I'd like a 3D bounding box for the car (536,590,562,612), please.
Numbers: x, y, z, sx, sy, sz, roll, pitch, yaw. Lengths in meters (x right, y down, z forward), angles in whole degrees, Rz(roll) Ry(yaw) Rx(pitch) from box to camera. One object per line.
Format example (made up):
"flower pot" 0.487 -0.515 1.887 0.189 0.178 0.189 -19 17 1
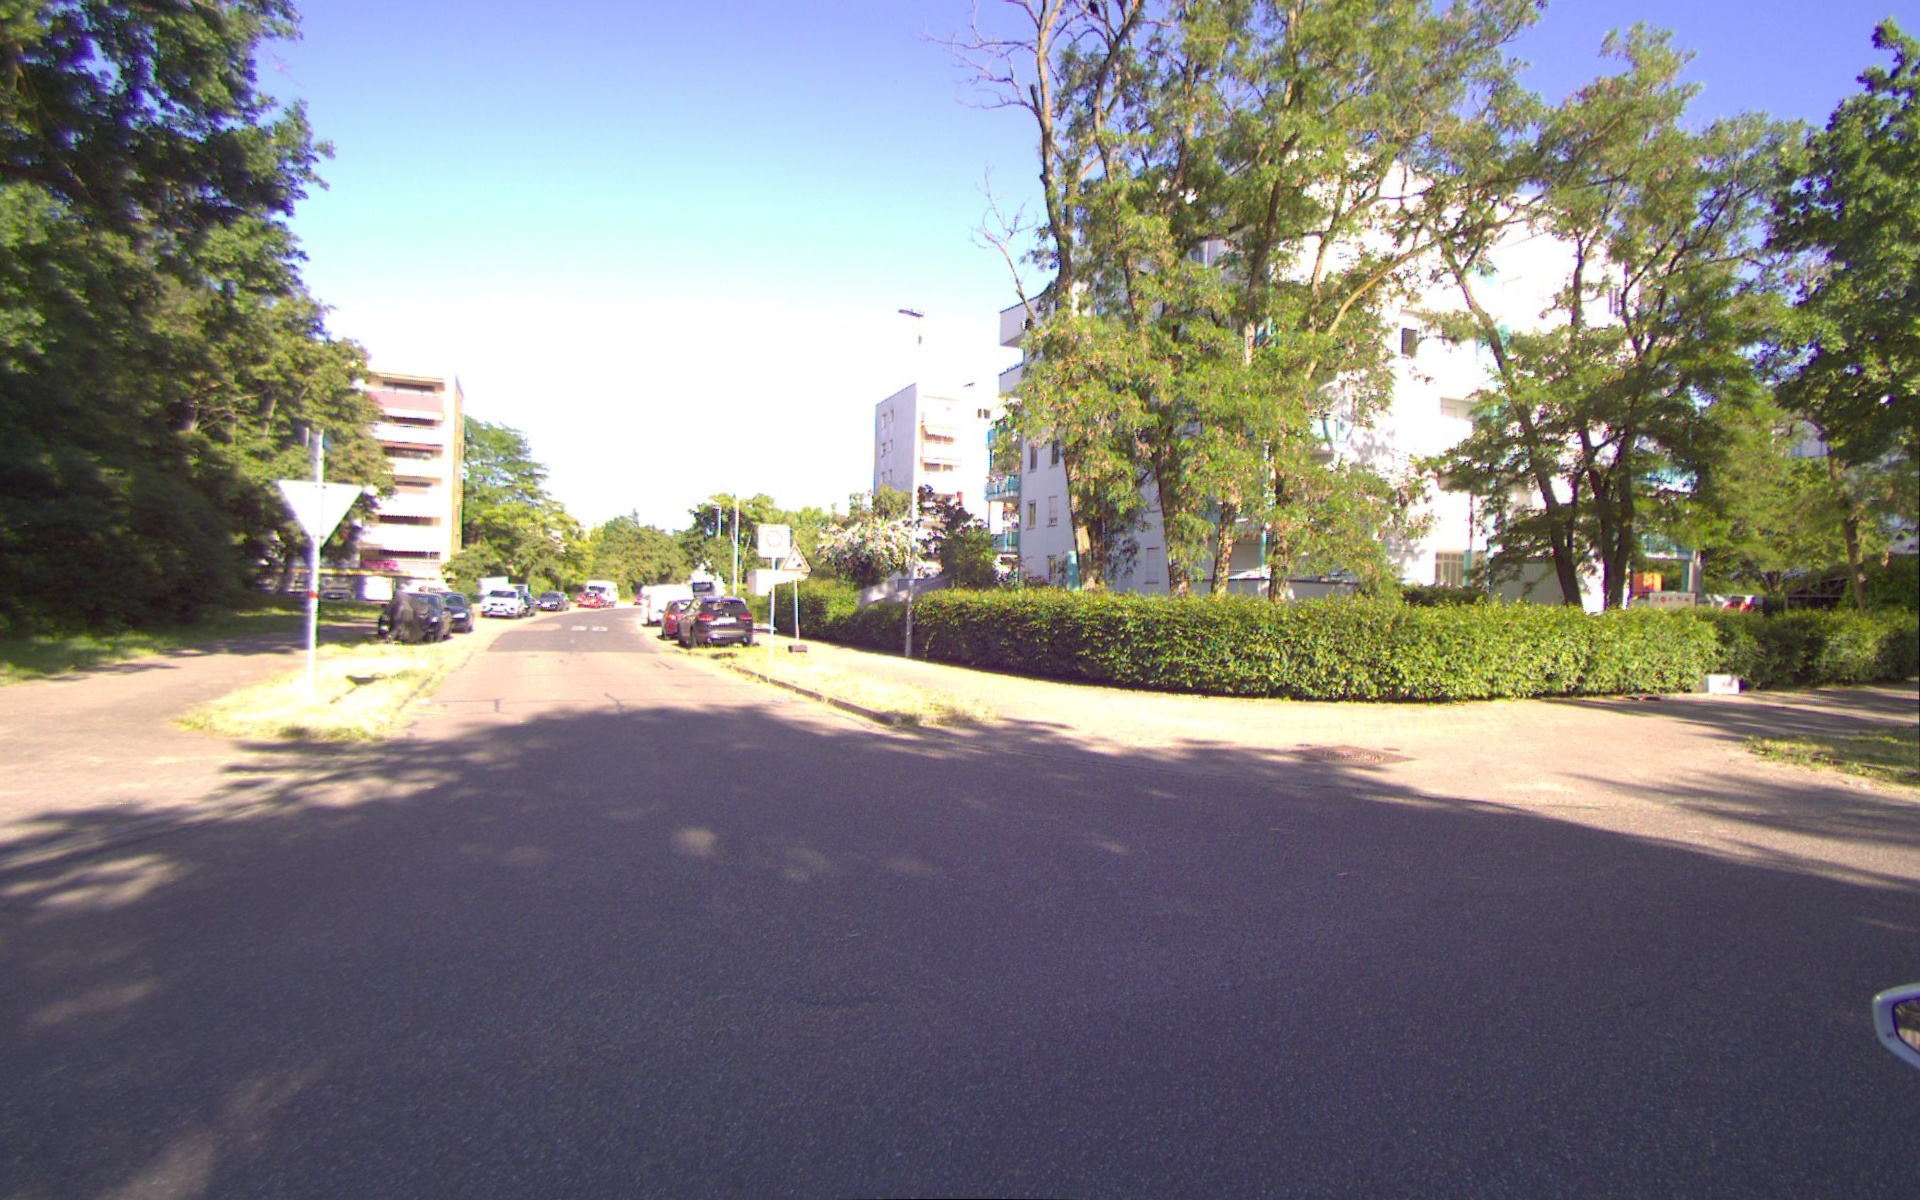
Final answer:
"car" -30.214 0.057 73.752 1.623 1.578 3.813 1 0 -24

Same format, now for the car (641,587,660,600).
"car" -38.780 -0.816 125.982 1.860 1.662 3.991 2 0 -12

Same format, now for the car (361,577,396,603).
"car" -41.276 -0.738 71.368 1.738 1.767 3.813 1 0 -24

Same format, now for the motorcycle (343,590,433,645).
"motorcycle" -14.980 0.454 26.363 0.664 1.362 1.955 2 0 34

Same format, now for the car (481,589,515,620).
"car" -25.061 0.220 54.546 1.623 1.578 3.813 1 0 -24

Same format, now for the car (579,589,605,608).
"car" -33.538 -0.150 91.608 1.796 1.617 3.989 2 0 -13

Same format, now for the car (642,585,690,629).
"car" -14.761 0.298 50.343 1.803 2.088 3.813 1 0 -24

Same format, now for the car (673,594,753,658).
"car" -7.664 0.754 30.936 1.732 1.808 3.813 1 0 -24

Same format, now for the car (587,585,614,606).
"car" -34.569 -0.466 96.748 1.950 1.925 3.989 2 0 -13

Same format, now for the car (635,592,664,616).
"car" -20.176 0.235 65.241 1.499 1.486 3.056 1 0 -23

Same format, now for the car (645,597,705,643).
"car" -10.597 0.700 37.190 1.615 1.531 3.813 1 0 -24

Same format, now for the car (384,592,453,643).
"car" -16.402 0.511 30.561 1.538 1.410 3.567 1 0 -24

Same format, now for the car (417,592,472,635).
"car" -18.572 0.459 36.288 1.538 1.410 3.567 1 0 -24

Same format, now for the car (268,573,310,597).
"car" -46.092 -1.009 69.072 1.775 1.547 3.813 1 0 -24

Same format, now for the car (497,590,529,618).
"car" -26.557 0.213 59.700 1.623 1.578 3.813 1 0 -24

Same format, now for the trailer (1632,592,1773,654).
"trailer" 26.014 0.809 35.206 4.365 2.070 1.972 1 0 -22

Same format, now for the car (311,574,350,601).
"car" -44.124 -0.873 70.459 1.738 1.767 3.813 1 0 -24
